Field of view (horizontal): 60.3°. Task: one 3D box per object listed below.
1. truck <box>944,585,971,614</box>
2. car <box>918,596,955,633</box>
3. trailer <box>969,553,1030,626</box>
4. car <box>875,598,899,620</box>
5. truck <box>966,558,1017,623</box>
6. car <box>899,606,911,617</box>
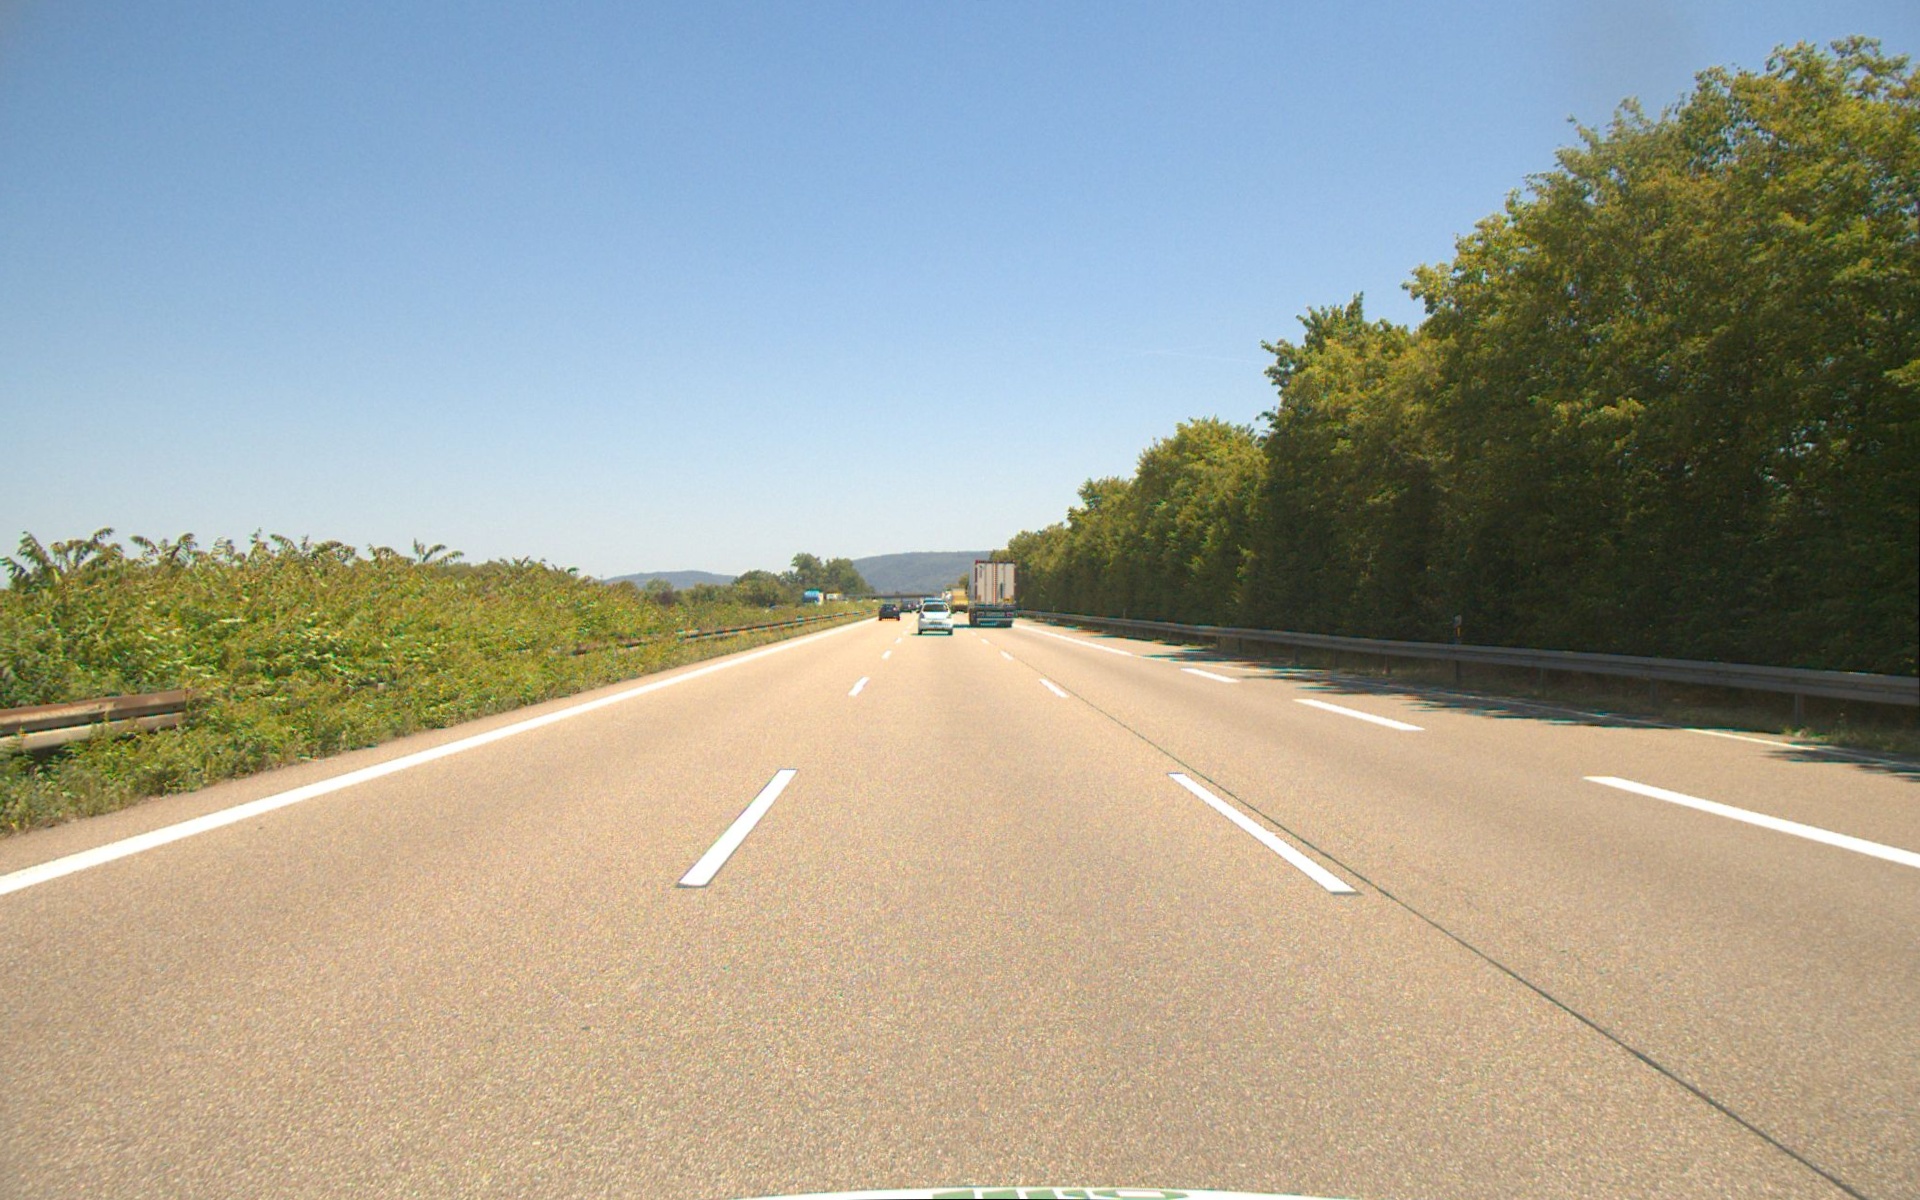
[{"bbox_3d":[-0.477,-0.072,258.348,3.793,4.421,13.856,1,0,-1],"label":"truck"},{"bbox_3d":[-1.153,0.695,79.553,1.697,1.713,3.998,-1,0,-2],"label":"car"},{"bbox_3d":[2.440,-0.650,108.173,3.153,4.421,13.623,1,0,-2],"label":"trailer"},{"bbox_3d":[-6.077,0.735,138.726,1.953,1.742,3.998,1,0,-2],"label":"car"},{"bbox_3d":[2.182,-0.638,115.682,3.153,4.421,6.587,1,0,-2],"label":"truck"},{"bbox_3d":[-7.874,1.708,237.691,1.759,1.578,3.999,0,0,-1],"label":"car"}]
